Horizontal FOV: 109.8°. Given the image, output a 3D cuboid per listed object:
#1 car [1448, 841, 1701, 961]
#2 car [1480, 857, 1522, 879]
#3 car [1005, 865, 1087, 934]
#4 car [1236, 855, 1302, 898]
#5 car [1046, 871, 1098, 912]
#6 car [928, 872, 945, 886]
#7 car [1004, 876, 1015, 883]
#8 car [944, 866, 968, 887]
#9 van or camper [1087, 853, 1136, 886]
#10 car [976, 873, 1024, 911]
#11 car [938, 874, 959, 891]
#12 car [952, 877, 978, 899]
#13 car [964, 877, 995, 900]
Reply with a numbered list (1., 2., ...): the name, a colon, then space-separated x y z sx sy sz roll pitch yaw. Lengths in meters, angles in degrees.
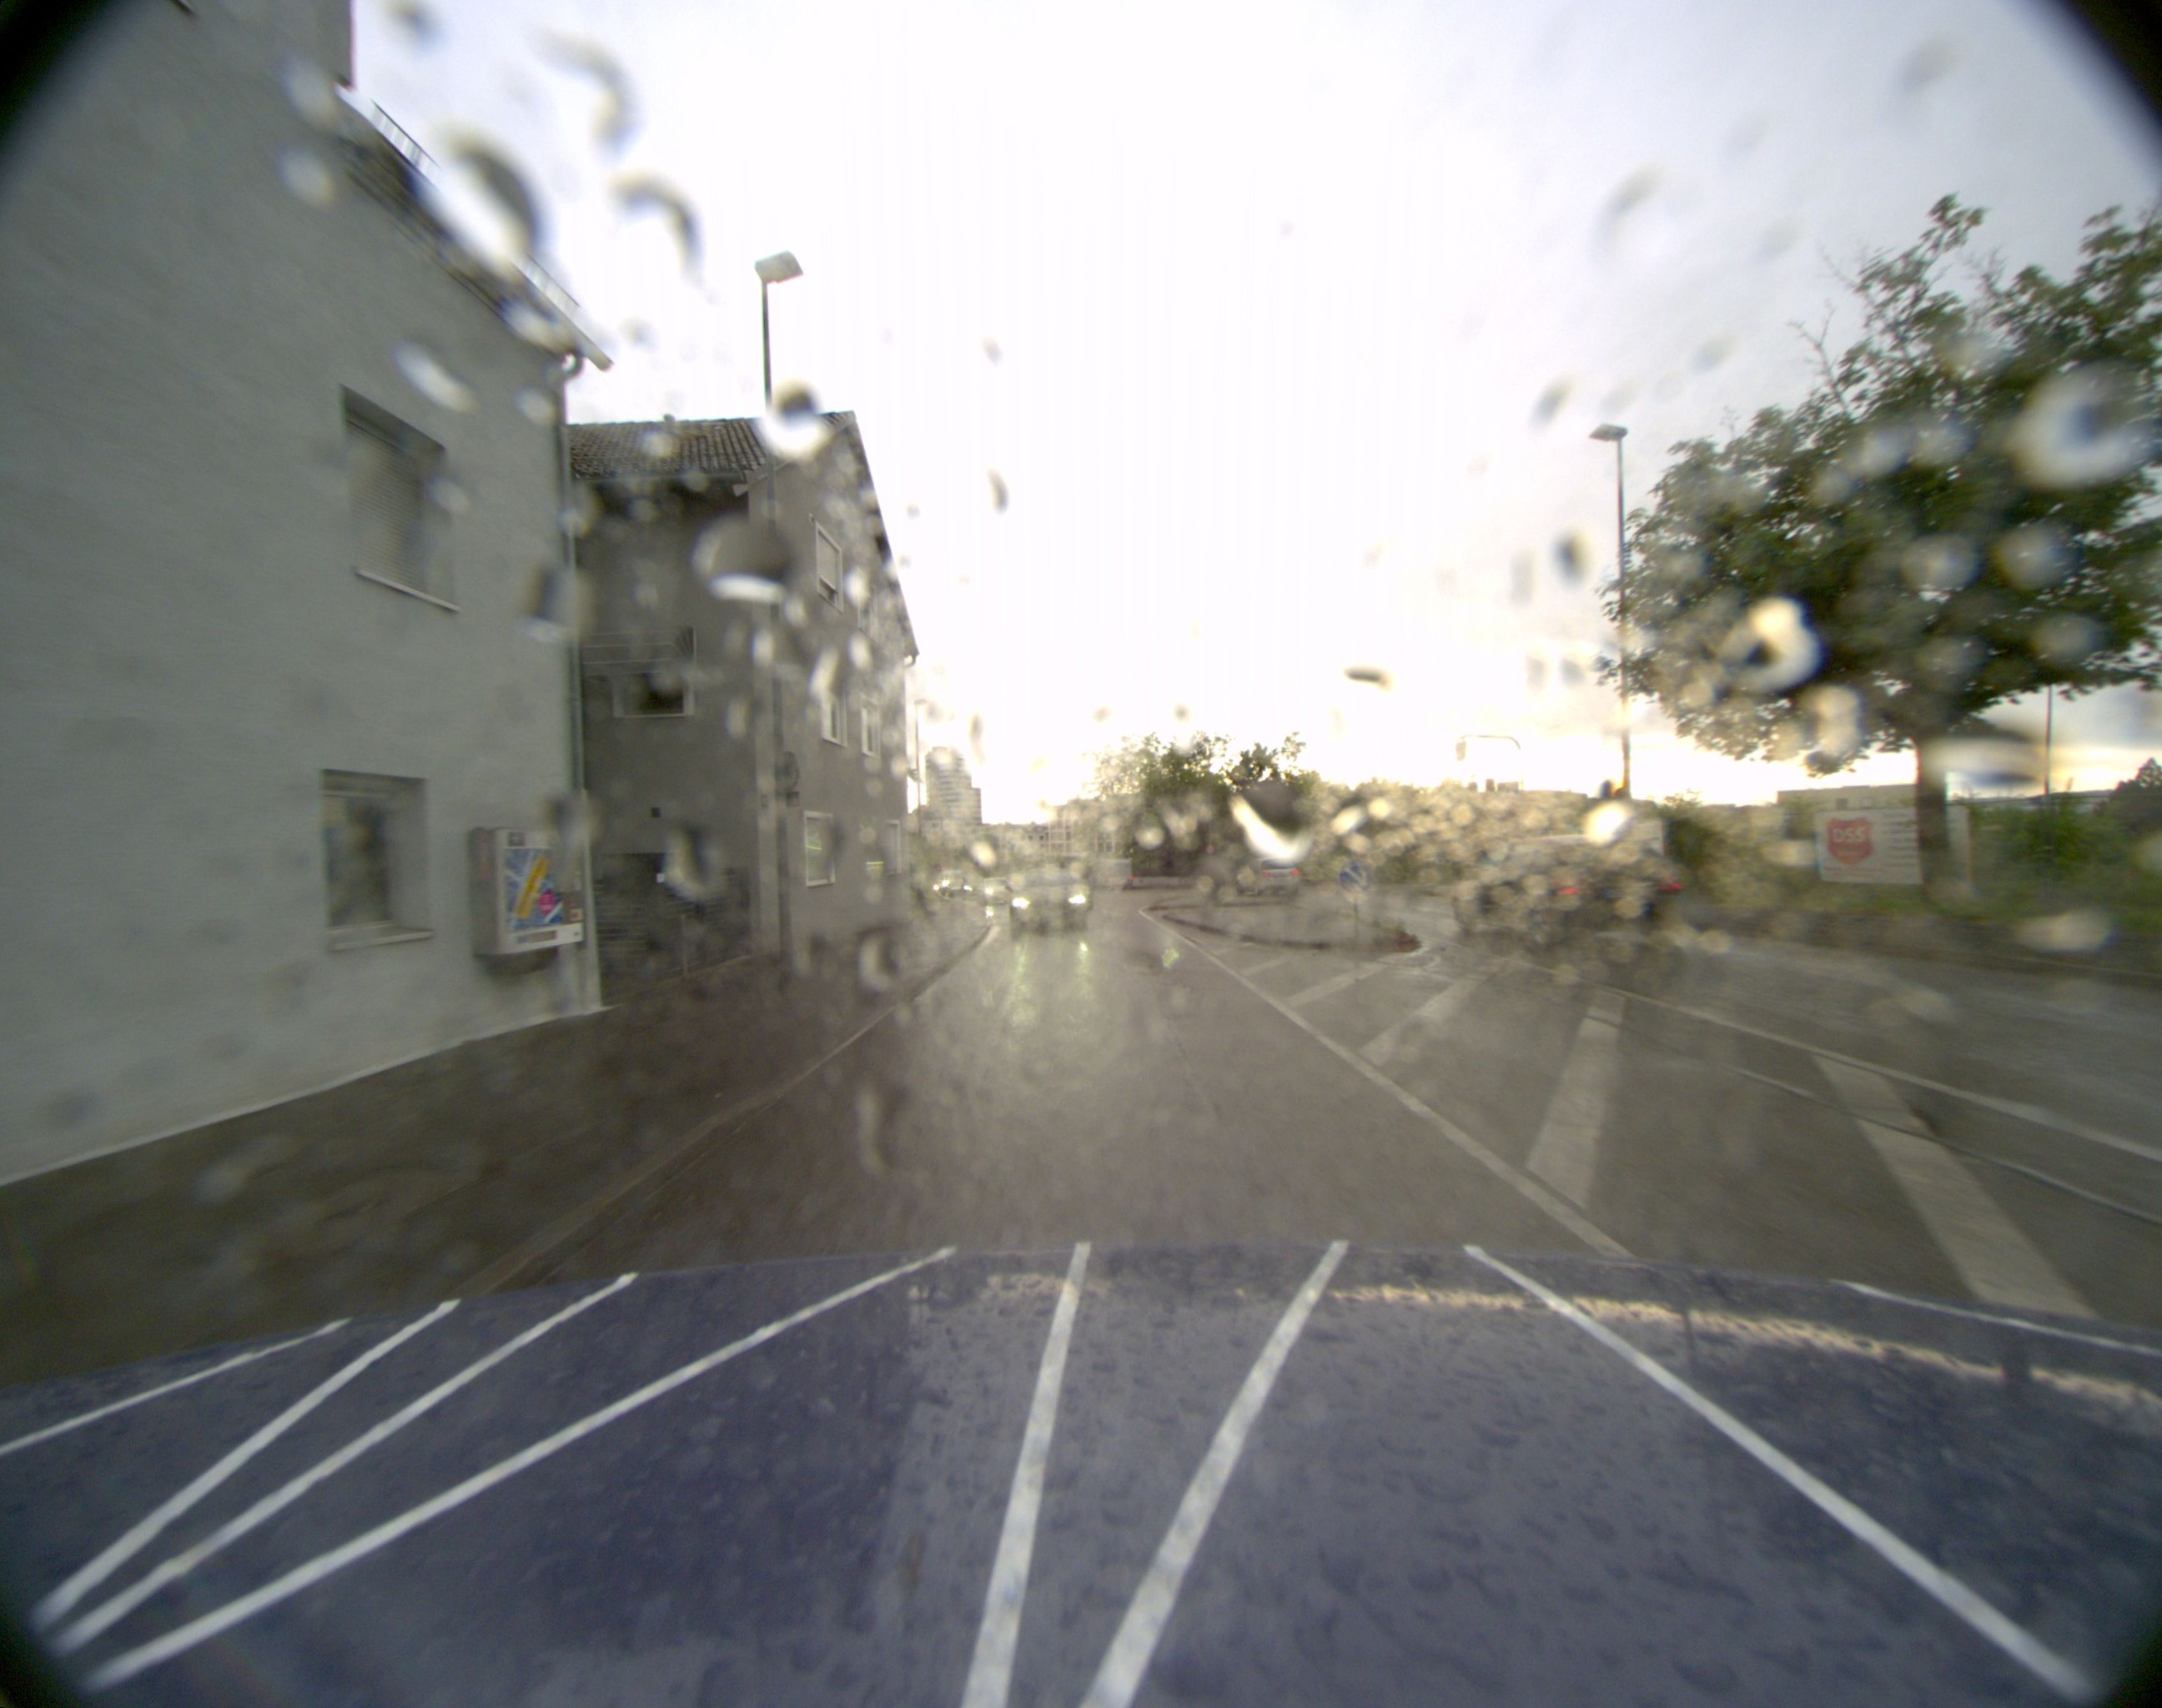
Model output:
1. car: 7.364 0.610 11.875 1.644 1.512 4.072 -2 0 6
2. car: 34.491 1.148 62.399 4.301 1.597 1.697 -2 0 -43
3. car: -0.801 1.121 20.109 1.838 1.505 4.849 -3 -1 0
4. car: 7.841 0.880 32.034 1.648 1.543 4.155 -5 0 1
5. car: -0.262 1.392 29.249 1.790 1.339 4.946 -3 -2 1
6. car: -20.732 3.614 108.679 2.032 1.924 4.941 -2 -2 -14
7. car: -15.012 5.353 159.191 1.820 1.506 3.997 -2 -1 -11
8. car: -12.644 2.283 76.668 2.032 1.924 4.941 -2 -2 -14
9. van or camper: 2.541 1.341 65.700 2.375 2.640 7.013 -2 -1 -12
10. car: -4.591 2.061 42.326 1.902 1.649 4.938 -6 1 -13
11. car: -15.634 3.376 89.562 2.032 1.924 4.941 -2 -2 -14
12. car: -9.848 2.851 64.486 1.902 1.712 4.461 -2 -2 -12
13. car: -7.245 2.428 53.968 1.902 1.487 4.942 -2 -2 -11
